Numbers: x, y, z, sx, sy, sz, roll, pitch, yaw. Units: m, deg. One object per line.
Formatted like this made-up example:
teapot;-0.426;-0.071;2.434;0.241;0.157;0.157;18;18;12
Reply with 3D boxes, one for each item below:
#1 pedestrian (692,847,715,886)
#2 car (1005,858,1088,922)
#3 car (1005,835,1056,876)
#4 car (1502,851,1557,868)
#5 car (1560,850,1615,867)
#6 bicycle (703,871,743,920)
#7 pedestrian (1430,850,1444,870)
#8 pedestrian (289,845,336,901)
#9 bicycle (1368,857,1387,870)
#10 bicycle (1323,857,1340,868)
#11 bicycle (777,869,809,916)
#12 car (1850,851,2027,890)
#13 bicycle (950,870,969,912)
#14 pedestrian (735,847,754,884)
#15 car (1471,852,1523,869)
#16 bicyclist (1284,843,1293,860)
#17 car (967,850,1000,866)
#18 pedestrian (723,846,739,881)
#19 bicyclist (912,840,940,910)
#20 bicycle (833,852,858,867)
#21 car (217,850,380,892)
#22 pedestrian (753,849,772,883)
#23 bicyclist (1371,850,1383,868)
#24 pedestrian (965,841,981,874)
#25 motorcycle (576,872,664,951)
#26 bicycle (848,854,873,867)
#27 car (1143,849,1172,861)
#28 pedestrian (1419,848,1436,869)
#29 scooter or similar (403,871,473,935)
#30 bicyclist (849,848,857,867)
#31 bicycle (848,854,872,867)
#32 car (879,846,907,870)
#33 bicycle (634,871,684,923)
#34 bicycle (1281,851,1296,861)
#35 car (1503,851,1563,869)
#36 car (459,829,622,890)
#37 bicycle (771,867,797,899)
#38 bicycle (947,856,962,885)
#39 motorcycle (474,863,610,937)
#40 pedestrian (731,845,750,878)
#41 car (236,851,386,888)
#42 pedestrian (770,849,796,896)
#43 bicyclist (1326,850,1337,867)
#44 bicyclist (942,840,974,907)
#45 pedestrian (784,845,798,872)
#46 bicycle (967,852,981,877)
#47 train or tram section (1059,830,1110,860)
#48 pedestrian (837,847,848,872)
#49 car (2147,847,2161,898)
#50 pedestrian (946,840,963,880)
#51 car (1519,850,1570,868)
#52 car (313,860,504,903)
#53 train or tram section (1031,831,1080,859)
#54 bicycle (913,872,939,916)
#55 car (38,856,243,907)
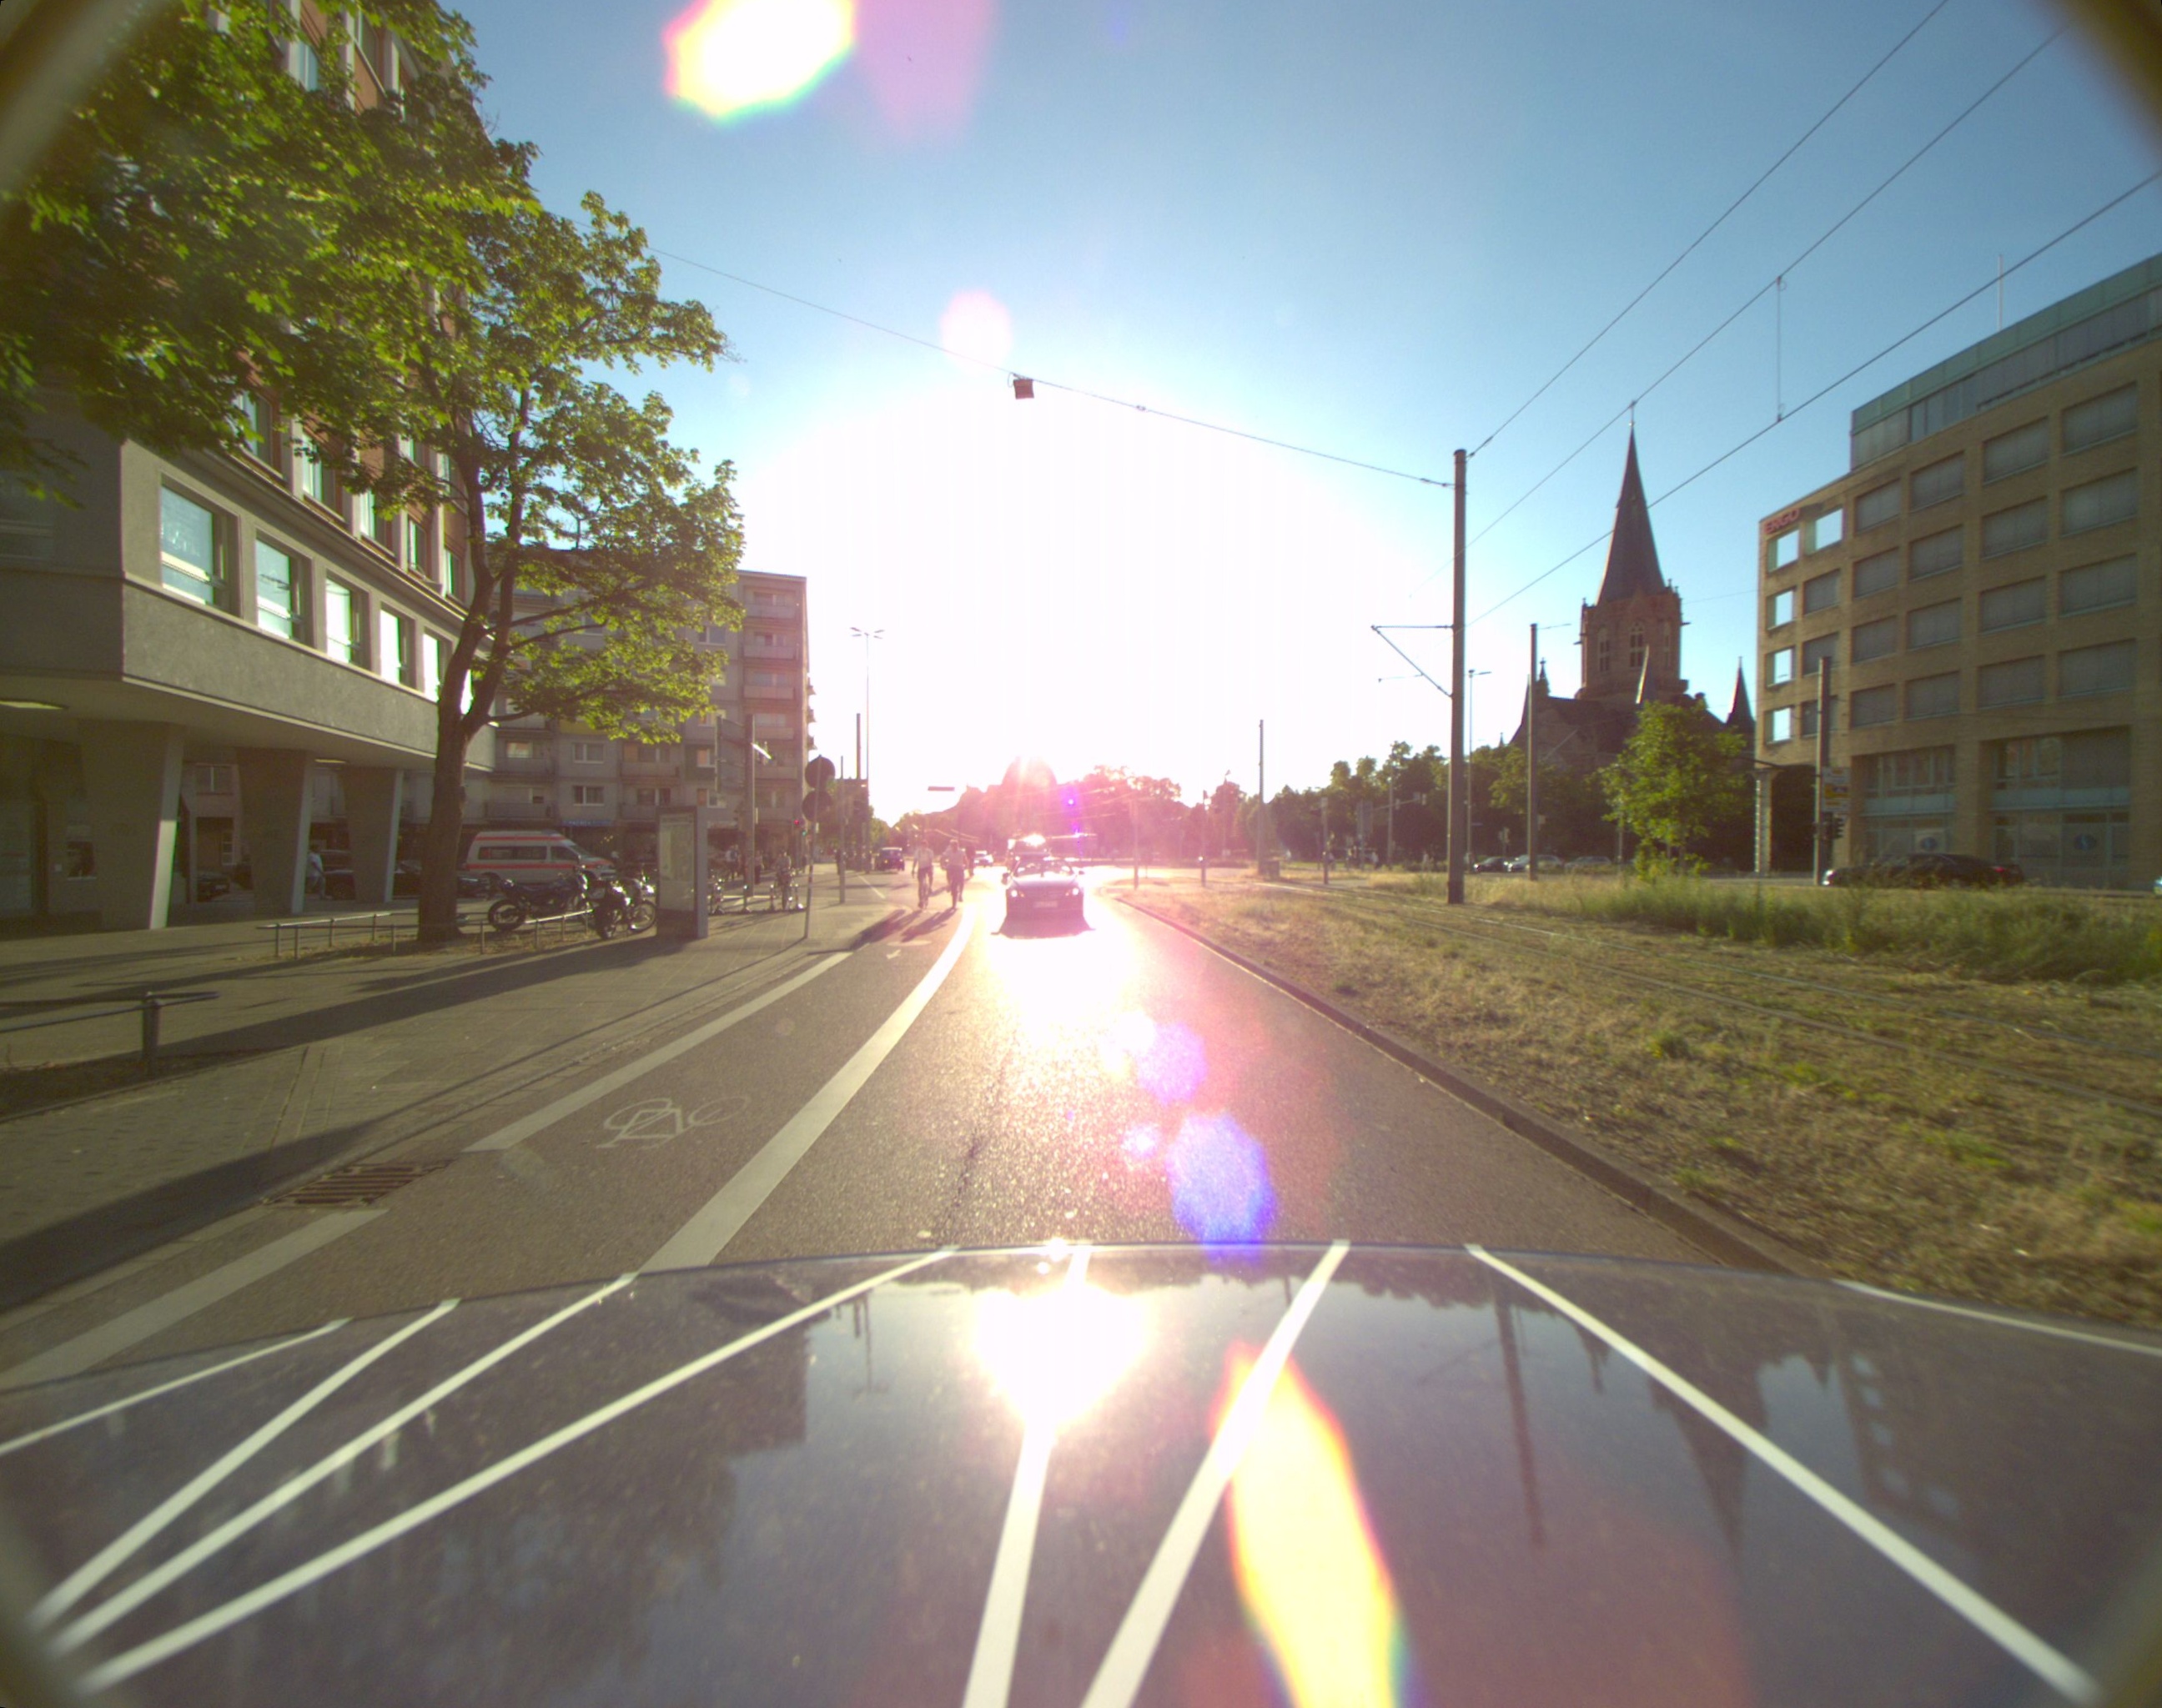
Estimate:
pedestrian;-15.946;0.519;32.099;0.730;1.652;0.904;-1;1;-18
car;-0.920;0.796;18.552;1.777;1.300;4.238;-1;1;-5
car;-2.648;0.042;38.753;1.922;1.978;4.941;-1;1;-12
car;37.866;0.454;64.188;4.004;1.412;1.899;0;1;-19
car;43.970;0.389;65.952;4.004;1.412;1.899;0;1;-19
bicycle;-8.909;1.007;18.985;0.647;1.120;1.871;-1;0;-18
pedestrian;29.900;0.488;63.828;0.738;1.663;0.716;0;1;-17
pedestrian;-24.360;0.597;24.090;0.820;1.746;0.639;-1;1;-17
bicycle;26.397;0.812;67.650;0.460;1.140;1.916;-2;1;-20
bicycle;24.711;0.805;74.920;0.460;1.020;1.927;-2;1;-19
bicycle;-7.390;0.957;19.551;0.647;1.120;1.871;-1;0;-18
car;30.321;0.528;27.021;1.732;1.275;3.782;-1;1;-19
bicycle;-3.361;0.984;20.940;0.480;1.022;1.979;-2;1;-10
pedestrian;-15.120;0.512;34.188;0.684;1.652;0.745;-1;1;-18
car;36.780;0.566;67.183;4.004;1.412;1.899;0;1;-19
bicyclist;22.706;-0.272;83.172;0.575;1.817;0.893;-2;1;-20
car;-9.087;0.346;70.206;1.845;1.393;4.575;-3;2;-22
pedestrian;-16.954;0.460;36.835;0.571;1.691;0.811;-1;1;-18
bicyclist;-4.077;0.539;20.012;0.676;1.797;0.993;-1;1;-9
bicycle;-19.404;0.447;62.577;1.876;1.119;0.606;2;0;-23
car;-30.217;0.622;29.499;4.089;1.562;1.594;0;1;-20
pedestrian;-14.184;0.545;33.879;0.684;1.491;0.745;-1;1;-18
bicyclist;26.377;0.412;67.671;0.522;1.574;0.819;-2;1;-20
pedestrian;-5.420;0.171;38.024;0.679;1.639;0.900;-2;1;-12
motorcycle;-8.185;0.967;13.608;0.668;1.235;2.198;-1;1;-13
bicycle;-17.865;0.518;61.589;1.876;1.055;0.606;0;1;-22
car;9.157;0.160;90.795;1.732;1.406;3.878;0;0;-24
pedestrian;29.062;0.370;63.709;0.738;1.663;1.103;0;1;-17
scooter or similar;-13.355;0.990;15.816;0.416;1.247;1.182;0;1;0
bicyclist;-21.150;0.326;70.462;0.745;1.797;1.384;-1;1;-17
bicycle;-18.084;0.547;62.172;1.876;1.055;0.606;0;1;-22
car;-16.093;0.298;64.934;1.944;1.922;4.824;-1;1;-18
bicycle;-10.254;1.011;18.537;0.647;1.151;2.121;-1;0;-18
bicycle;22.715;0.192;83.287;0.526;1.020;1.927;-3;1;-20
car;35.983;0.444;60.501;4.002;1.412;1.900;0;1;-16
car;-22.804;0.189;32.334;5.271;2.468;1.922;-1;1;-19
bicycle;-10.235;0.992;26.220;0.522;0.975;1.847;0;2;-12
bicycle;-5.336;0.686;32.143;0.530;1.152;1.847;-2;1;-8
motorcycle;-10.735;0.898;15.210;2.051;1.398;0.759;-1;1;-11
pedestrian;-18.065;0.391;40.327;0.786;1.691;1.025;-1;1;-18
car;-32.171;0.624;31.886;4.003;1.455;1.785;0;1;-18
pedestrian;-10.241;0.626;26.128;0.677;1.581;0.760;0;3;-12
bicyclist;24.728;0.411;74.956;0.575;1.671;0.893;-2;1;-20
bicyclist;-3.389;0.510;20.930;0.829;1.797;1.056;-1;1;-10
pedestrian;-17.172;0.278;44.957;0.684;1.580;0.745;-1;1;-15
bicycle;-5.353;0.518;38.111;0.530;1.152;1.847;-2;1;-12
train or tram section;0.270;-1.083;93.763;2.785;3.515;10.551;-1;1;-20
pedestrian;-16.563;0.383;52.808;0.664;1.694;1.070;-1;1;-15
car;32.619;0.538;20.102;1.896;1.472;4.773;0;0;-18
pedestrian;-5.349;0.255;32.174;0.640;1.639;0.842;-2;1;-7
car;41.908;0.470;68.688;4.004;1.576;1.822;0;1;-20
car;-23.589;0.926;26.871;4.680;1.333;1.837;-1;1;-18
train or tram section;-3.742;-1.214;104.944;2.785;3.515;13.227;-1;1;-20
bicycle;-4.050;1.014;19.944;0.577;1.022;1.855;-2;1;-10
car;-30.009;0.845;24.400;3.777;1.501;1.753;0;1;-18
